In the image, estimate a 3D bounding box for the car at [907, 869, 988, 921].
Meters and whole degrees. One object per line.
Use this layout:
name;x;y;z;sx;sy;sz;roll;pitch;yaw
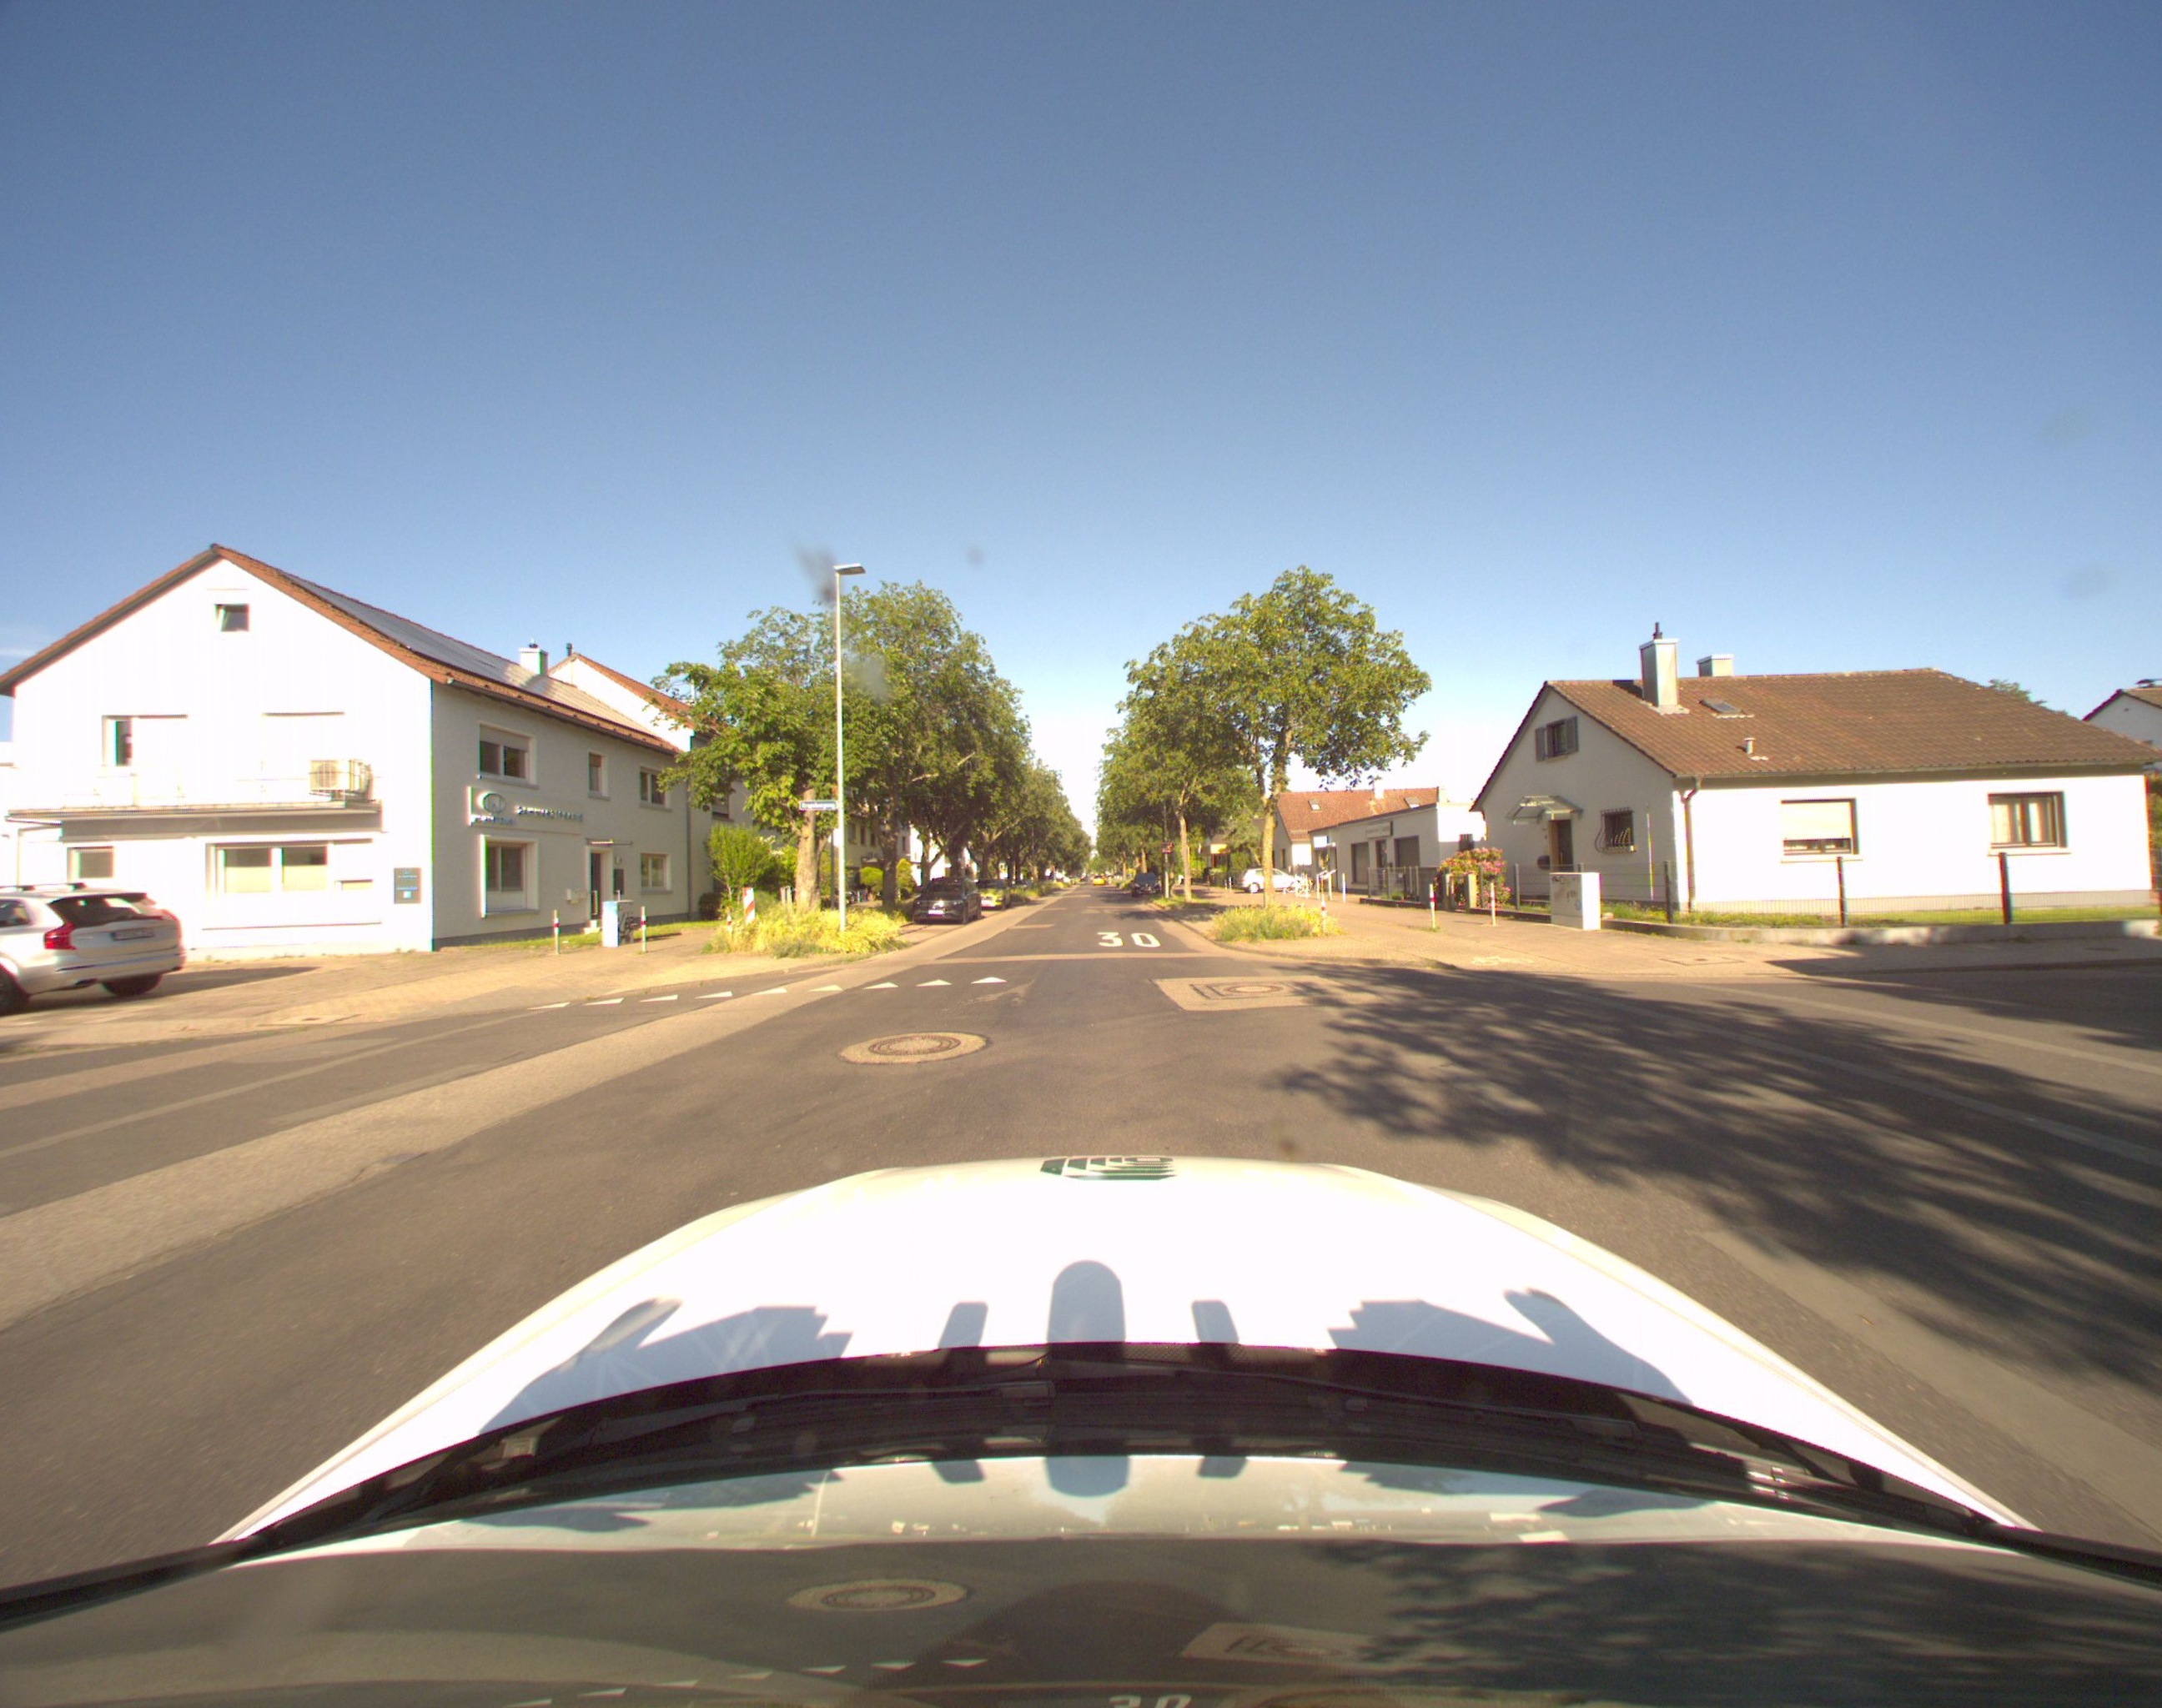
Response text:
car;-4.727;1.474;29.550;1.946;1.727;4.876;0;-2;2

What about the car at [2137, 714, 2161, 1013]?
car;11.993;-0.021;5.983;5.579;2.539;2.264;-2;-1;-1

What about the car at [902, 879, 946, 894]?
car;-17.397;3.601;90.565;4.544;1.618;1.998;0;0;-3

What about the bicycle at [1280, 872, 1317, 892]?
bicycle;12.471;1.609;46.653;1.917;0.998;0.576;-3;0;-1

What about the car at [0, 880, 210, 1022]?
car;-16.540;1.443;12.253;4.477;1.837;1.999;-2;1;-2

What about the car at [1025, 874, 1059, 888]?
car;-5.366;3.653;111.123;4.537;1.766;1.997;0;0;-4

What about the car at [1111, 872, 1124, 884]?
car;5.794;3.835;130.003;1.895;1.774;4.302;0;-2;2

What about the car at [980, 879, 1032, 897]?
car;-6.753;3.090;73.676;4.539;1.511;1.841;0;0;0

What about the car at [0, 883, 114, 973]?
car;-21.593;1.502;15.112;4.495;1.555;1.996;-4;0;-6

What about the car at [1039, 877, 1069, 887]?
car;-3.985;4.055;118.005;4.278;1.315;1.906;0;0;-4

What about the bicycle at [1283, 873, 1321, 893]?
bicycle;12.391;1.619;45.665;1.952;0.998;0.576;-3;0;-1

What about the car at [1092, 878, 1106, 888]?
car;2.762;4.333;122.938;1.880;1.479;3.891;0;-2;3

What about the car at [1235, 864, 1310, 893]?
car;11.416;1.449;48.761;3.975;1.489;1.901;-4;0;-1

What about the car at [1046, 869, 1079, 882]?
car;-3.150;3.677;139.228;5.482;2.247;2.516;0;0;-1

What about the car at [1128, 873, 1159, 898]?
car;4.356;2.215;57.083;1.847;1.626;4.469;-3;-2;1

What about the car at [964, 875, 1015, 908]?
car;-4.573;1.890;41.181;1.931;1.609;4.385;0;-2;2

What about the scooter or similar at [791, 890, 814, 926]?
scooter or similar;-8.141;1.558;23.799;0.334;1.001;0.996;-2;-1;-2
